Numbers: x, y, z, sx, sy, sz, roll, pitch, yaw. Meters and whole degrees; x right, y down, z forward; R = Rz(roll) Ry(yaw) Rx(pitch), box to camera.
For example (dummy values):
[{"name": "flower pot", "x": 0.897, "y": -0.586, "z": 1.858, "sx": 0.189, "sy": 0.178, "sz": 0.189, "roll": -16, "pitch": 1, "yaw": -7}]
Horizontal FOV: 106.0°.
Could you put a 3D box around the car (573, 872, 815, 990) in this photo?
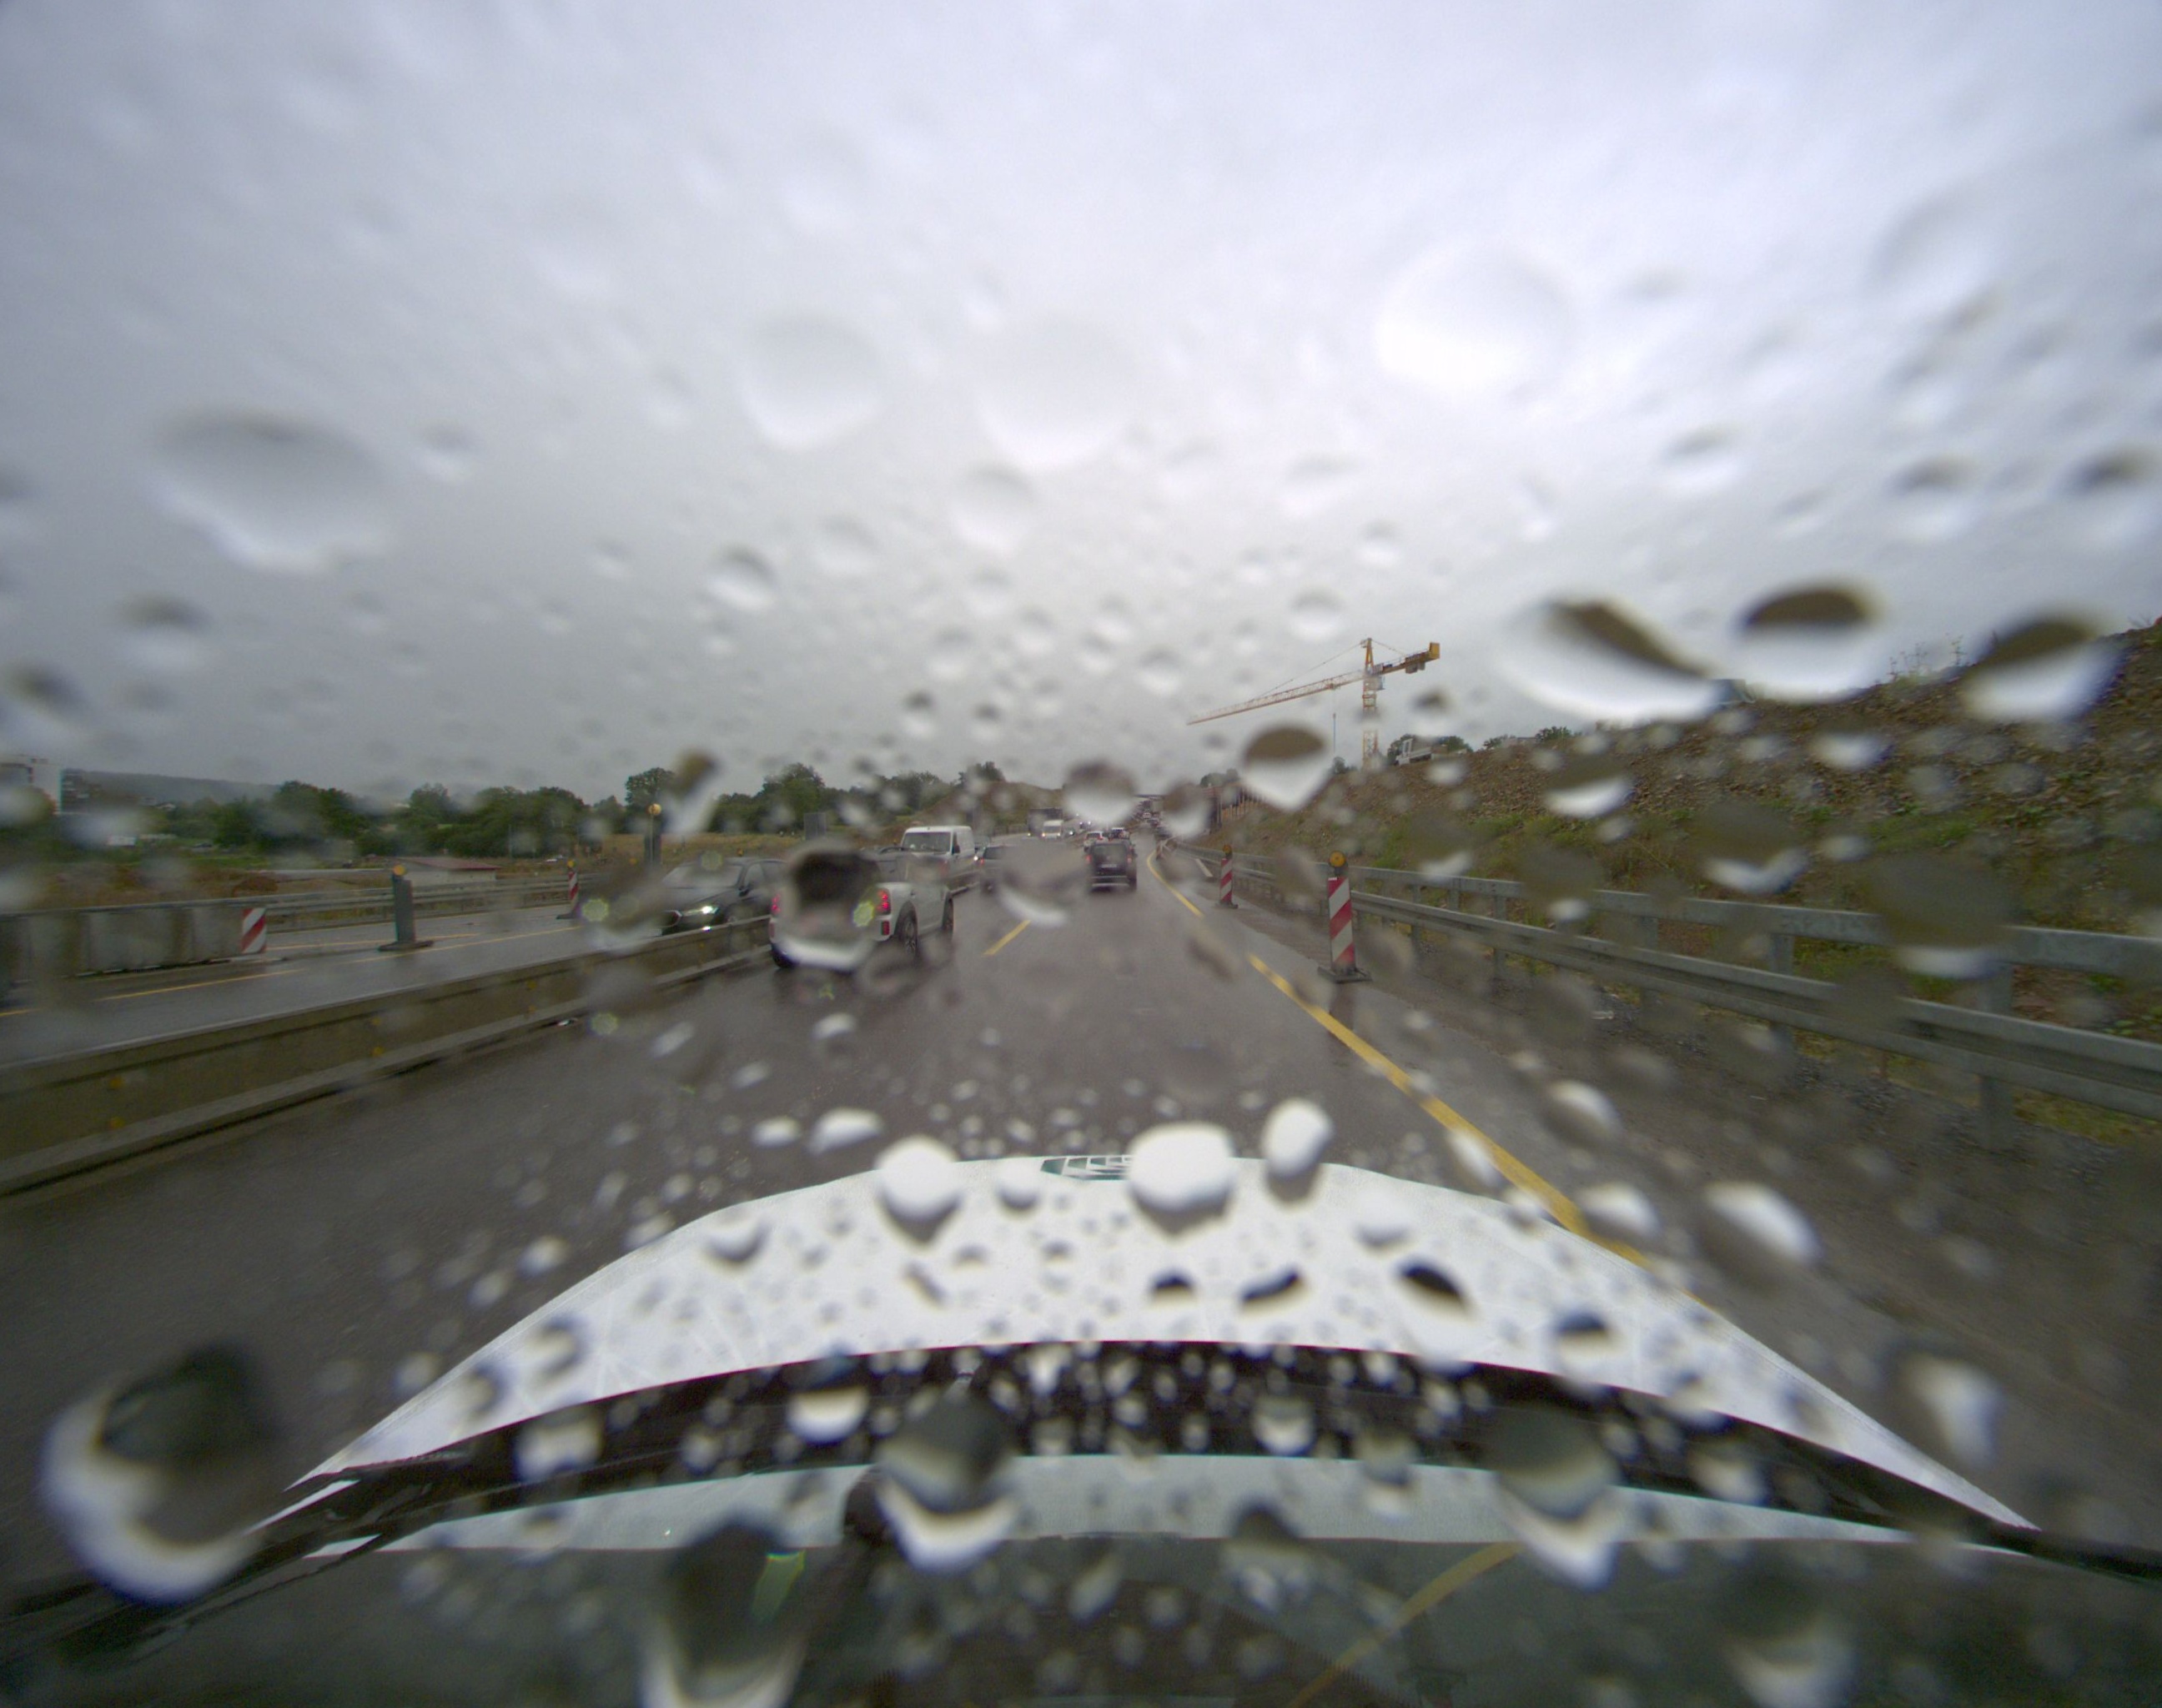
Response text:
[{"name": "car", "x": -6.333, "y": 1.164, "z": 14.053, "sx": 1.765, "sy": 1.504, "sz": 4.681, "roll": -2, "pitch": 0, "yaw": 2}]

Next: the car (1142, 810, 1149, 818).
[{"name": "car", "x": 18.524, "y": -11.536, "z": 233.986, "sx": 1.986, "sy": 2.014, "sz": 4.002, "roll": -1, "pitch": 0, "yaw": 2}]

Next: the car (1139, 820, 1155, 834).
[{"name": "car", "x": 8.748, "y": -3.554, "z": 107.797, "sx": 1.985, "sy": 1.761, "sz": 3.818, "roll": -1, "pitch": 0, "yaw": 3}]

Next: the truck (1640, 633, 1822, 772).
[{"name": "truck", "x": 24.973, "y": -5.641, "z": 31.695, "sx": 2.364, "sy": 4.218, "sz": 5.982, "roll": -1, "pitch": 0, "yaw": 2}]

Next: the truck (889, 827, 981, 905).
[{"name": "truck", "x": -5.258, "y": 0.426, "z": 30.248, "sx": 2.070, "sy": 2.576, "sz": 5.965, "roll": -1, "pitch": 0, "yaw": 2}]

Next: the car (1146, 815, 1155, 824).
[{"name": "car", "x": 15.142, "y": -7.498, "z": 177.215, "sx": 1.841, "sy": 1.894, "sz": 4.025, "roll": -1, "pitch": 0, "yaw": 3}]

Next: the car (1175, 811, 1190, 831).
[{"name": "car", "x": 14.424, "y": -4.654, "z": 115.386, "sx": 1.982, "sy": 2.484, "sz": 4.994, "roll": -1, "pitch": 0, "yaw": 9}]

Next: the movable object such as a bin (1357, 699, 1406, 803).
[{"name": "movable object such as a bin", "x": 35.591, "y": -11.941, "z": 96.843, "sx": 4.681, "sy": 10.842, "sz": 10.349, "roll": -1, "pitch": -1, "yaw": 17}]

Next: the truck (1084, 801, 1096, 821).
[{"name": "truck", "x": 2.626, "y": -12.171, "z": 232.727, "sx": 3.128, "sy": 5.417, "sz": 8.532, "roll": -1, "pitch": 1, "yaw": 3}]

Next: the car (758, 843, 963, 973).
[{"name": "car", "x": -3.085, "y": 0.665, "z": 12.405, "sx": 1.809, "sy": 1.600, "sz": 4.309, "roll": -1, "pitch": 0, "yaw": 1}]

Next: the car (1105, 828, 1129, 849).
[{"name": "car", "x": 3.903, "y": -1.671, "z": 87.984, "sx": 1.981, "sy": 2.163, "sz": 4.152, "roll": -1, "pitch": 0, "yaw": 10}]

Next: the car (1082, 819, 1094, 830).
[{"name": "car", "x": 1.232, "y": -4.926, "z": 136.713, "sx": 1.730, "sy": 1.684, "sz": 5.557, "roll": -1, "pitch": 2, "yaw": 3}]

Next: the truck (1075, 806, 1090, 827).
[{"name": "truck", "x": 0.433, "y": -9.143, "z": 200.587, "sx": 3.070, "sy": 4.918, "sz": 8.573, "roll": -1, "pitch": 1, "yaw": 3}]

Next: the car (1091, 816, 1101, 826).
[{"name": "car", "x": 2.860, "y": -6.354, "z": 156.661, "sx": 1.778, "sy": 1.810, "sz": 4.502, "roll": -1, "pitch": 0, "yaw": 3}]

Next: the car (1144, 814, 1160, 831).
[{"name": "car", "x": 10.394, "y": -4.576, "z": 118.906, "sx": 1.981, "sy": 2.163, "sz": 4.153, "roll": -1, "pitch": 0, "yaw": 11}]

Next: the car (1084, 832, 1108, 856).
[{"name": "car", "x": 1.306, "y": -0.833, "z": 70.218, "sx": 1.986, "sy": 2.014, "sz": 3.895, "roll": -1, "pitch": 0, "yaw": 2}]

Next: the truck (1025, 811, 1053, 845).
[{"name": "truck", "x": -5.171, "y": -3.270, "z": 101.037, "sx": 2.632, "sy": 3.969, "sz": 9.218, "roll": -1, "pitch": 2, "yaw": 1}]

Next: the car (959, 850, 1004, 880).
[{"name": "car", "x": -5.559, "y": 0.603, "z": 46.023, "sx": 1.780, "sy": 1.538, "sz": 4.314, "roll": -2, "pitch": 0, "yaw": 2}]

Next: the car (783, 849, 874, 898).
[{"name": "car", "x": -8.789, "y": 0.616, "z": 28.702, "sx": 1.781, "sy": 1.546, "sz": 4.002, "roll": -1, "pitch": 1, "yaw": 2}]

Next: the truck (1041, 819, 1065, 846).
[{"name": "truck", "x": -2.957, "y": -2.277, "z": 87.193, "sx": 2.139, "sy": 2.713, "sz": 6.019, "roll": -1, "pitch": 1, "yaw": 2}]

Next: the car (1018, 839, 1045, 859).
[{"name": "car", "x": -3.951, "y": -0.443, "z": 65.133, "sx": 1.670, "sy": 1.524, "sz": 4.348, "roll": -2, "pitch": 1, "yaw": 2}]

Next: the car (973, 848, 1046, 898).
[{"name": "car", "x": -2.467, "y": 0.646, "z": 29.226, "sx": 1.985, "sy": 1.600, "sz": 4.144, "roll": -1, "pitch": 0, "yaw": 3}]

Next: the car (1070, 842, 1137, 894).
[{"name": "car", "x": 0.823, "y": 0.445, "z": 27.870, "sx": 2.072, "sy": 1.600, "sz": 4.144, "roll": -1, "pitch": 0, "yaw": 3}]

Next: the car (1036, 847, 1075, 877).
[{"name": "car", "x": -1.398, "y": 0.438, "z": 46.726, "sx": 1.986, "sy": 1.600, "sz": 4.141, "roll": -1, "pitch": 0, "yaw": 1}]

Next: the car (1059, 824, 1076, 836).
[{"name": "car", "x": -1.697, "y": -3.064, "z": 103.565, "sx": 1.862, "sy": 1.471, "sz": 4.673, "roll": -1, "pitch": 2, "yaw": 1}]

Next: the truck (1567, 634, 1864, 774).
[{"name": "truck", "x": 20.302, "y": -4.615, "z": 27.123, "sx": 3.380, "sy": 2.875, "sz": 8.970, "roll": -1, "pitch": 0, "yaw": 4}]

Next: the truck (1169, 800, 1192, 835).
[{"name": "truck", "x": 16.748, "y": -5.988, "z": 136.600, "sx": 3.082, "sy": 5.426, "sz": 9.470, "roll": -1, "pitch": 0, "yaw": 10}]

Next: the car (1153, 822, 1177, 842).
[{"name": "car", "x": 9.670, "y": -2.486, "z": 93.209, "sx": 1.978, "sy": 2.163, "sz": 4.158, "roll": -1, "pitch": 0, "yaw": 16}]

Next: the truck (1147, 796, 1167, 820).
[{"name": "truck", "x": 18.297, "y": -10.988, "z": 197.027, "sx": 3.789, "sy": 5.042, "sz": 12.927, "roll": -1, "pitch": 0, "yaw": 2}]

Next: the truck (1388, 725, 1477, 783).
[{"name": "truck", "x": 21.367, "y": -6.017, "z": 49.963, "sx": 2.635, "sy": 2.554, "sz": 6.987, "roll": -1, "pitch": 0, "yaw": 2}]

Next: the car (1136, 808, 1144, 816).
[{"name": "car", "x": 15.644, "y": -11.204, "z": 217.633, "sx": 1.986, "sy": 2.013, "sz": 4.003, "roll": -2, "pitch": 1, "yaw": 2}]
